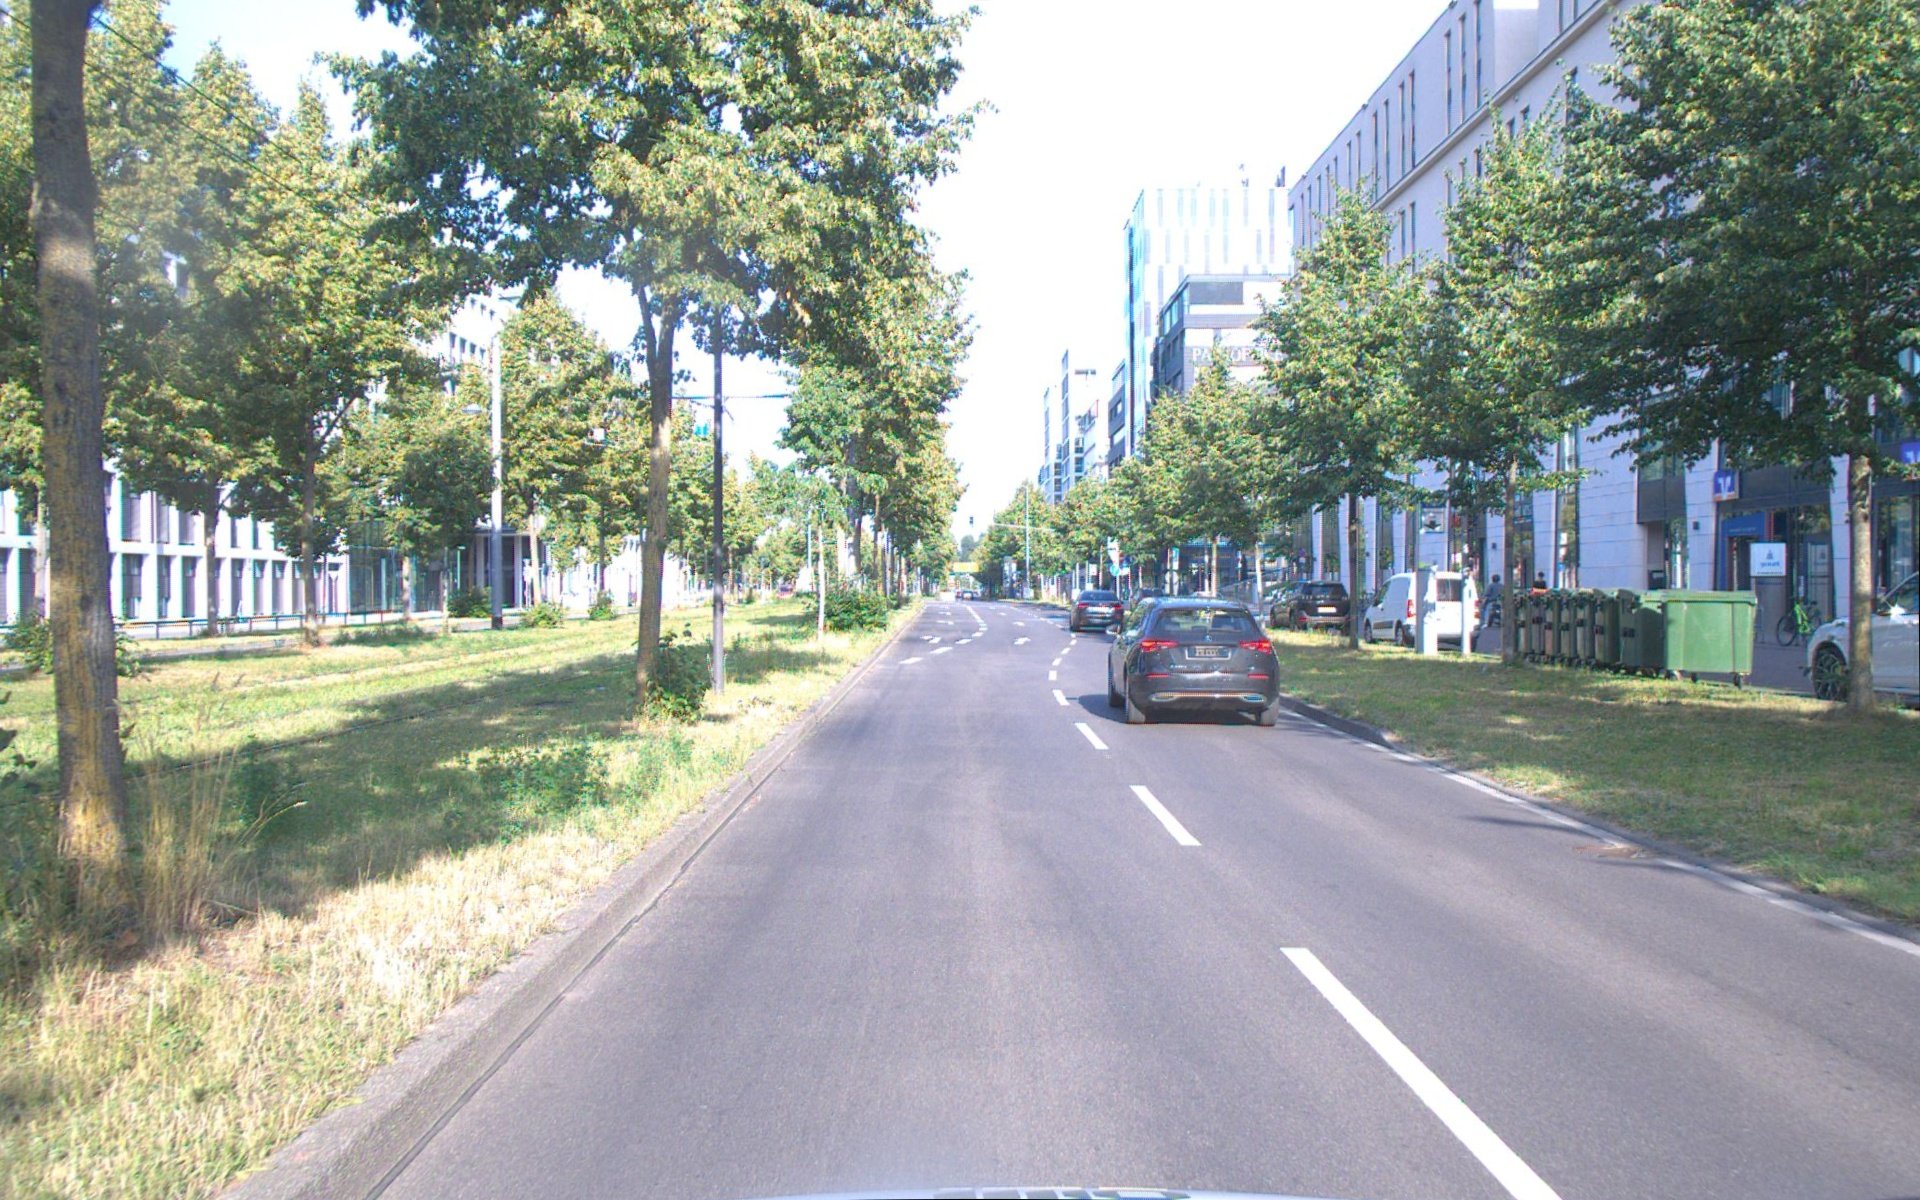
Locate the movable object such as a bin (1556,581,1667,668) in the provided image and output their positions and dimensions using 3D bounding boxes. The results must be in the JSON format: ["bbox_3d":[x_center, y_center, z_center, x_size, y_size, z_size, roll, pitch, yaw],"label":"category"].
[{"bbox_3d":[10.436,0.384,26.539,1.252,1.340,1.190,1,0,-4],"label":"movable object such as a bin"}]

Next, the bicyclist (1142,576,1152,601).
[{"bbox_3d":[13.596,-0.830,120.123,0.563,1.736,0.540,1,0,-4],"label":"bicyclist"}]

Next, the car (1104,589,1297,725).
[{"bbox_3d":[2.811,0.624,20.123,1.738,1.449,3.960,1,0,0],"label":"car"}]

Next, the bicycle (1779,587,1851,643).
[{"bbox_3d":[17.887,0.305,34.636,0.482,1.135,1.945,-1,0,-1],"label":"bicycle"}]

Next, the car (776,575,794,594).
[{"bbox_3d":[-17.750,-1.534,167.512,1.651,1.806,3.879,1,0,-4],"label":"car"}]

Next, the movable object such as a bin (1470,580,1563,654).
[{"bbox_3d":[10.270,0.304,30.579,1.252,1.314,1.177,1,0,-4],"label":"movable object such as a bin"}]

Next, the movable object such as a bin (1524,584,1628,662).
[{"bbox_3d":[10.392,0.385,27.946,1.252,1.258,1.190,1,0,-4],"label":"movable object such as a bin"}]

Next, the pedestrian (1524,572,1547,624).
[{"bbox_3d":[19.819,-0.070,56.954,0.526,1.793,0.646,1,0,-1],"label":"pedestrian"}]

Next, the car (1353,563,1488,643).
[{"bbox_3d":[10.843,0.070,39.278,1.791,1.741,4.293,1,0,-3],"label":"car"}]

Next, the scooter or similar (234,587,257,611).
[{"bbox_3d":[-36.312,-0.047,84.089,0.328,1.247,1.300,1,0,13],"label":"scooter or similar"}]

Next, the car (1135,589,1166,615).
[{"bbox_3d":[10.747,0.092,93.478,1.573,1.394,4.159,1,0,4],"label":"car"}]

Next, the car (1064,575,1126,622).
[{"bbox_3d":[4.687,-0.037,57.745,1.822,1.551,3.785,1,0,0],"label":"car"}]

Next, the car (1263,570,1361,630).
[{"bbox_3d":[10.885,-0.033,51.498,1.859,1.738,4.676,1,1,-2],"label":"car"}]

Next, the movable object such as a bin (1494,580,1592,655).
[{"bbox_3d":[10.326,0.304,29.345,1.252,1.258,1.190,1,0,-4],"label":"movable object such as a bin"}]

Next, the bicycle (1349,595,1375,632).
[{"bbox_3d":[17.691,0.607,72.797,0.544,1.598,2.276,1,0,0],"label":"bicycle"}]

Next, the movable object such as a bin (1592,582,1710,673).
[{"bbox_3d":[10.509,0.408,25.195,1.252,1.325,1.190,1,0,-4],"label":"movable object such as a bin"}]

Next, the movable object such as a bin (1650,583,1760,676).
[{"bbox_3d":[10.683,0.411,23.699,1.371,1.258,1.334,1,0,26],"label":"movable object such as a bin"}]

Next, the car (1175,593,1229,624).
[{"bbox_3d":[10.533,0.350,72.128,1.673,1.264,3.904,1,0,-1],"label":"car"}]

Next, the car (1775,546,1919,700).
[{"bbox_3d":[11.129,0.235,18.213,1.696,1.658,4.847,-1,0,-3],"label":"car"}]
